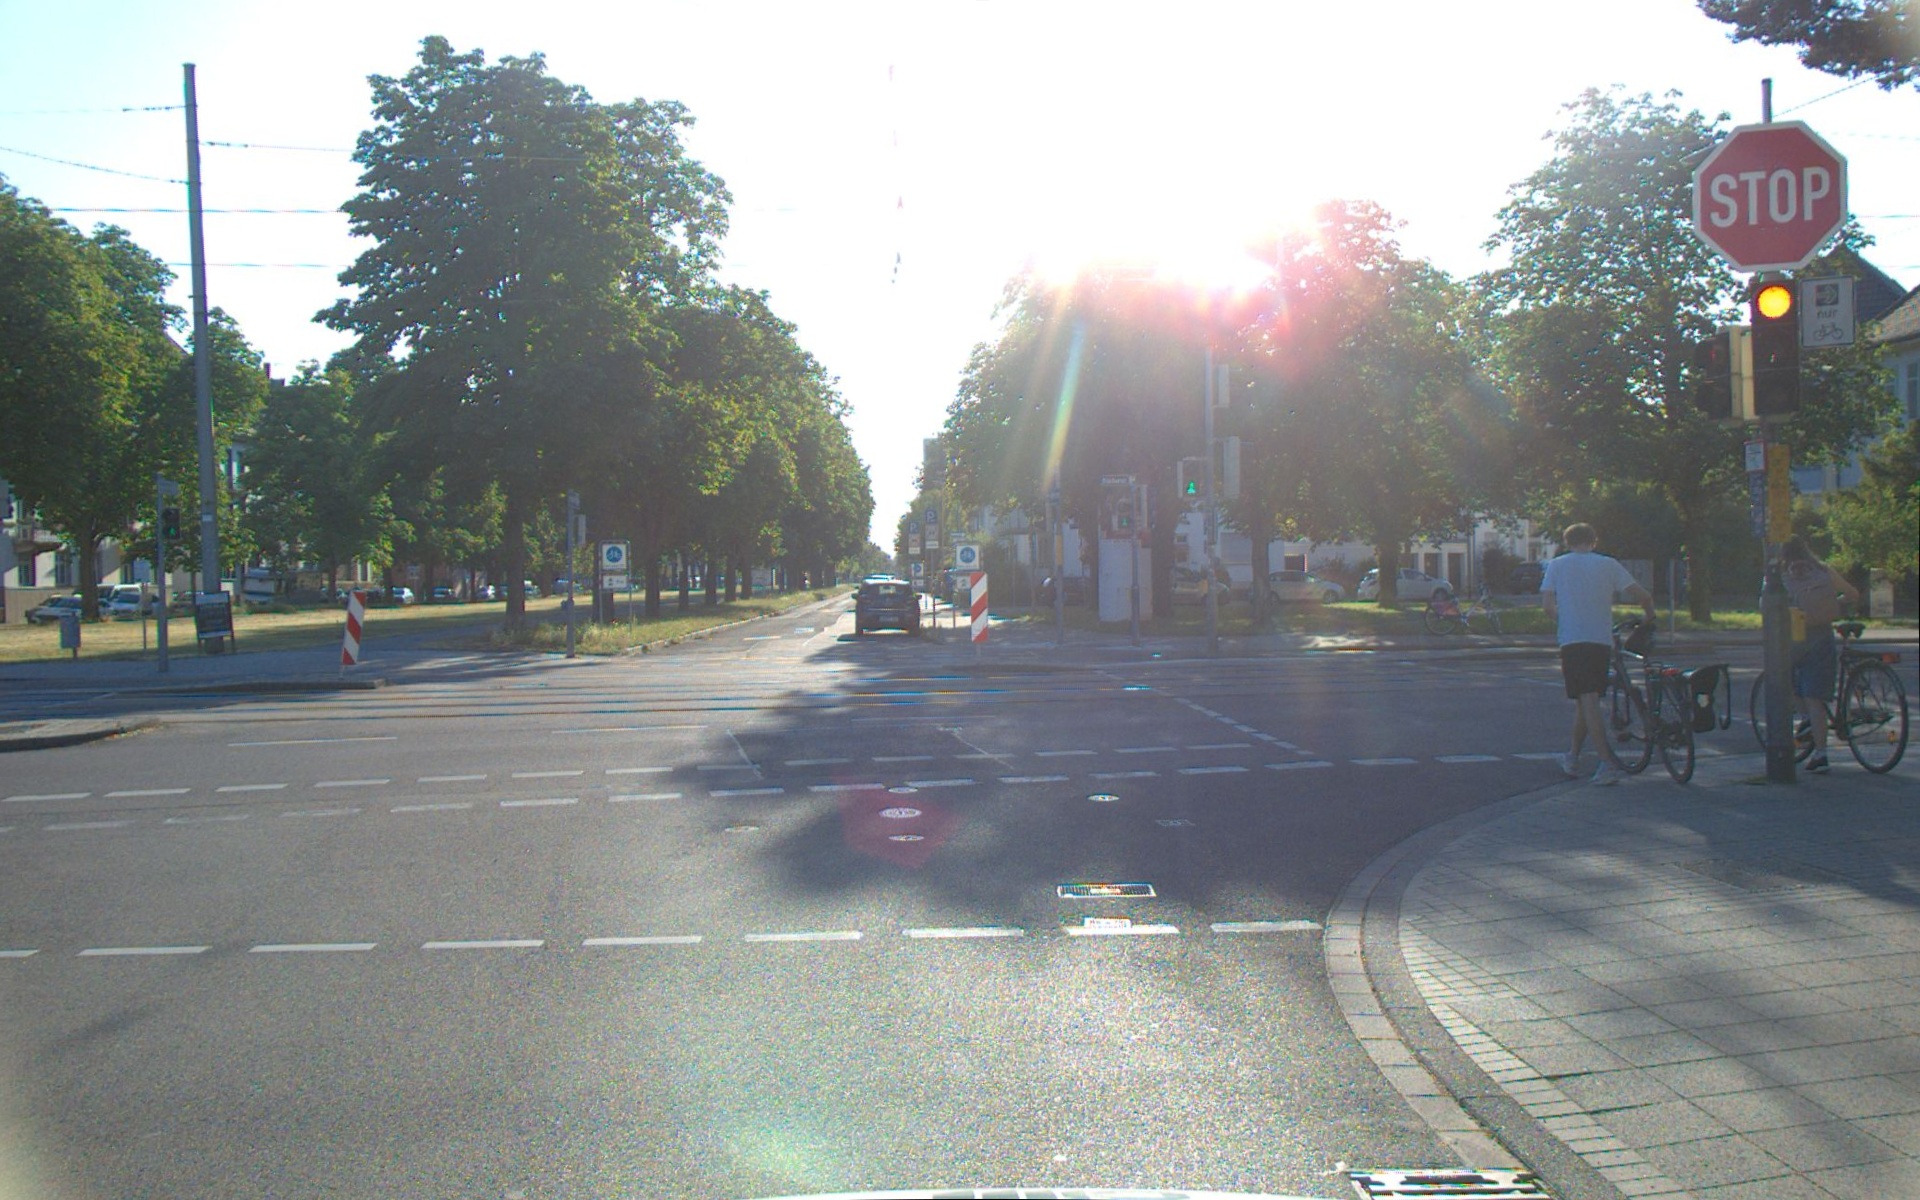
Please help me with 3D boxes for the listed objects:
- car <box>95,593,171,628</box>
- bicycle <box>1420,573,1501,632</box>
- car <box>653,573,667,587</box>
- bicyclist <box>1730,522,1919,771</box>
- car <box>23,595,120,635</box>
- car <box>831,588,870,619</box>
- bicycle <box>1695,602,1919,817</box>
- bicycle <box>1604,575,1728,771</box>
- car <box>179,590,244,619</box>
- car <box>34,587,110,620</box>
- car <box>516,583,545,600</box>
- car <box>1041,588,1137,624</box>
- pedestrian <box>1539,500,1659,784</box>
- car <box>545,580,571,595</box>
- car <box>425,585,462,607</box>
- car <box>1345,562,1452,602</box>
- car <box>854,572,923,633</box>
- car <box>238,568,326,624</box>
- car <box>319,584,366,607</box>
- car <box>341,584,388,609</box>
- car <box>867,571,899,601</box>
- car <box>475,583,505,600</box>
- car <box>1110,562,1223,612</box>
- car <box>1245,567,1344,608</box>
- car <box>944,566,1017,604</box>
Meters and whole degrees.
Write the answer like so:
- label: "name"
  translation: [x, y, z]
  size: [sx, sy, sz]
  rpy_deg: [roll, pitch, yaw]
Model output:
- label: "car"
  translation: [-40.311, 0.490, 80.731]
  size: [1.760, 1.581, 4.416]
  rpy_deg: [1, 1, -4]
- label: "bicycle"
  translation: [9.998, 0.044, 33.058]
  size: [1.489, 1.107, 0.468]
  rpy_deg: [-1, 6, 7]
- label: "car"
  translation: [-45.962, -3.065, 253.160]
  size: [1.621, 1.972, 3.565]
  rpy_deg: [1, -1, -3]
- label: "bicyclist"
  translation: [5.762, 0.301, 11.065]
  size: [0.700, 1.590, 0.890]
  rpy_deg: [1, -1, -15]
- label: "car"
  translation: [-40.210, 0.668, 74.968]
  size: [1.953, 1.688, 4.569]
  rpy_deg: [1, 0, -1]
- label: "car"
  translation: [-5.152, 0.160, 78.233]
  size: [1.675, 1.383, 4.201]
  rpy_deg: [1, 0, -2]
- label: "bicycle"
  translation: [5.698, 0.680, 11.181]
  size: [0.481, 1.204, 1.964]
  rpy_deg: [1, 3, -2]
- label: "bicycle"
  translation: [4.746, 0.455, 11.207]
  size: [0.560, 1.204, 1.906]
  rpy_deg: [1, 0, 17]
- label: "car"
  translation: [-46.099, 0.292, 101.943]
  size: [1.953, 1.688, 4.569]
  rpy_deg: [1, 0, -1]
- label: "car"
  translation: [-45.902, 0.183, 85.583]
  size: [1.681, 1.661, 4.190]
  rpy_deg: [1, 0, -1]
- label: "car"
  translation: [-43.331, -0.836, 166.880]
  size: [1.982, 1.688, 3.982]
  rpy_deg: [1, 0, -2]
- label: "car"
  translation: [5.511, 0.238, 70.865]
  size: [3.907, 1.472, 1.715]
  rpy_deg: [-1, 0, -3]
- label: "pedestrian"
  translation: [4.476, 0.283, 11.632]
  size: [0.614, 1.899, 0.775]
  rpy_deg: [-4, 0, 18]
- label: "car"
  translation: [-45.272, -1.444, 186.475]
  size: [1.954, 1.688, 4.568]
  rpy_deg: [-1, 1, -3]
- label: "car"
  translation: [-42.499, -0.324, 136.153]
  size: [1.775, 1.812, 4.121]
  rpy_deg: [1, 0, -2]
- label: "car"
  translation: [17.555, -0.706, 66.247]
  size: [3.847, 1.550, 1.521]
  rpy_deg: [0, -1, -8]
- label: "car"
  translation: [-1.880, 0.065, 44.535]
  size: [1.690, 1.537, 4.539]
  rpy_deg: [1, 0, -1]
- label: "car"
  translation: [-41.081, -0.282, 100.476]
  size: [2.344, 3.185, 7.850]
  rpy_deg: [1, 1, -2]
- label: "car"
  translation: [-47.030, -0.326, 126.001]
  size: [1.953, 1.688, 4.373]
  rpy_deg: [1, 0, -1]
- label: "car"
  translation: [-41.752, -0.215, 115.985]
  size: [1.841, 1.703, 4.313]
  rpy_deg: [1, 0, -2]
- label: "car"
  translation: [-4.856, -0.878, 103.650]
  size: [1.954, 1.812, 3.998]
  rpy_deg: [1, 1, -3]
- label: "car"
  translation: [-48.849, -0.888, 171.911]
  size: [1.953, 1.688, 4.354]
  rpy_deg: [1, 0, -1]
- label: "car"
  translation: [8.163, -0.520, 65.554]
  size: [4.157, 1.908, 2.029]
  rpy_deg: [-1, 0, -3]
- label: "car"
  translation: [13.227, -0.505, 65.453]
  size: [3.487, 1.542, 1.602]
  rpy_deg: [-1, 0, -8]
- label: "car"
  translation: [1.133, -0.842, 93.388]
  size: [3.911, 1.854, 1.757]
  rpy_deg: [-2, -5, -7]
